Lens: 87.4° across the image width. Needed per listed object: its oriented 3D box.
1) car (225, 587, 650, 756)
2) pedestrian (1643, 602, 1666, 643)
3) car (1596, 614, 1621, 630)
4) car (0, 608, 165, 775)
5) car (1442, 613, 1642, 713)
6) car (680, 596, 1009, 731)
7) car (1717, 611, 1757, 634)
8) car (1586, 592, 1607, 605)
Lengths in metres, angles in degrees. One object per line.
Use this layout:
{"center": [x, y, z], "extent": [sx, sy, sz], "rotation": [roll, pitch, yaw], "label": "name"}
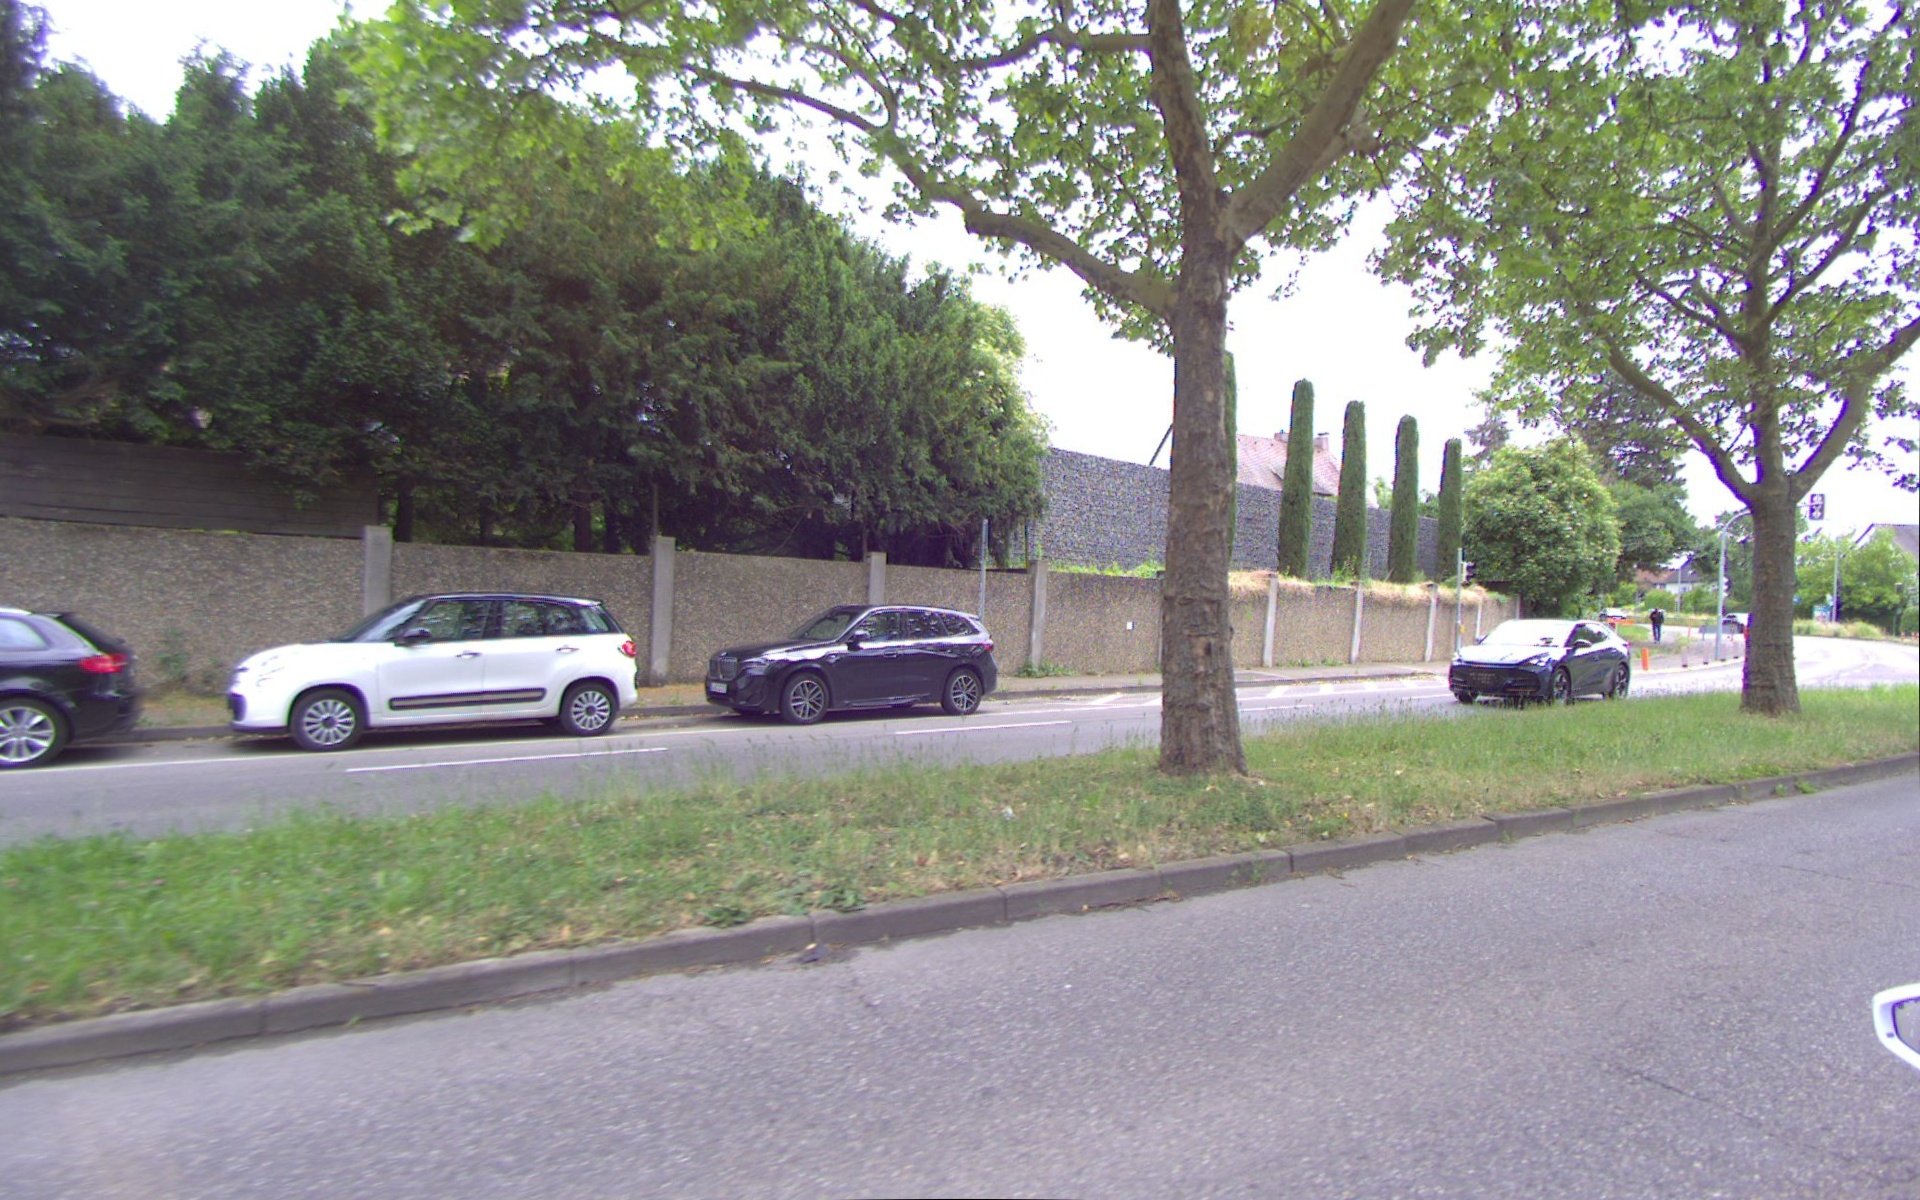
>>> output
{"center": [-5.826, 0.749, 11.445], "extent": [4.058, 1.613, 1.660], "rotation": [2, -2, -37], "label": "car"}
{"center": [35.604, 1.152, 51.491], "extent": [0.731, 2.041, 0.629], "rotation": [5, 4, 44], "label": "pedestrian"}
{"center": [73.394, 2.453, 113.687], "extent": [1.859, 1.646, 4.425], "rotation": [3, 1, 27], "label": "car"}
{"center": [-9.499, 0.753, 8.540], "extent": [4.182, 1.419, 1.636], "rotation": [2, -2, -37], "label": "car"}
{"center": [11.347, 1.177, 19.468], "extent": [4.395, 1.646, 1.931], "rotation": [3, 0, -40], "label": "car"}
{"center": [-1.579, 0.874, 14.604], "extent": [4.392, 1.646, 1.873], "rotation": [3, 0, -38], "label": "car"}
{"center": [59.943, 1.772, 77.529], "extent": [1.861, 1.646, 4.421], "rotation": [2, 0, 31], "label": "car"}
{"center": [83.010, -0.203, 131.046], "extent": [1.859, 1.646, 4.425], "rotation": [3, 1, 27], "label": "car"}
